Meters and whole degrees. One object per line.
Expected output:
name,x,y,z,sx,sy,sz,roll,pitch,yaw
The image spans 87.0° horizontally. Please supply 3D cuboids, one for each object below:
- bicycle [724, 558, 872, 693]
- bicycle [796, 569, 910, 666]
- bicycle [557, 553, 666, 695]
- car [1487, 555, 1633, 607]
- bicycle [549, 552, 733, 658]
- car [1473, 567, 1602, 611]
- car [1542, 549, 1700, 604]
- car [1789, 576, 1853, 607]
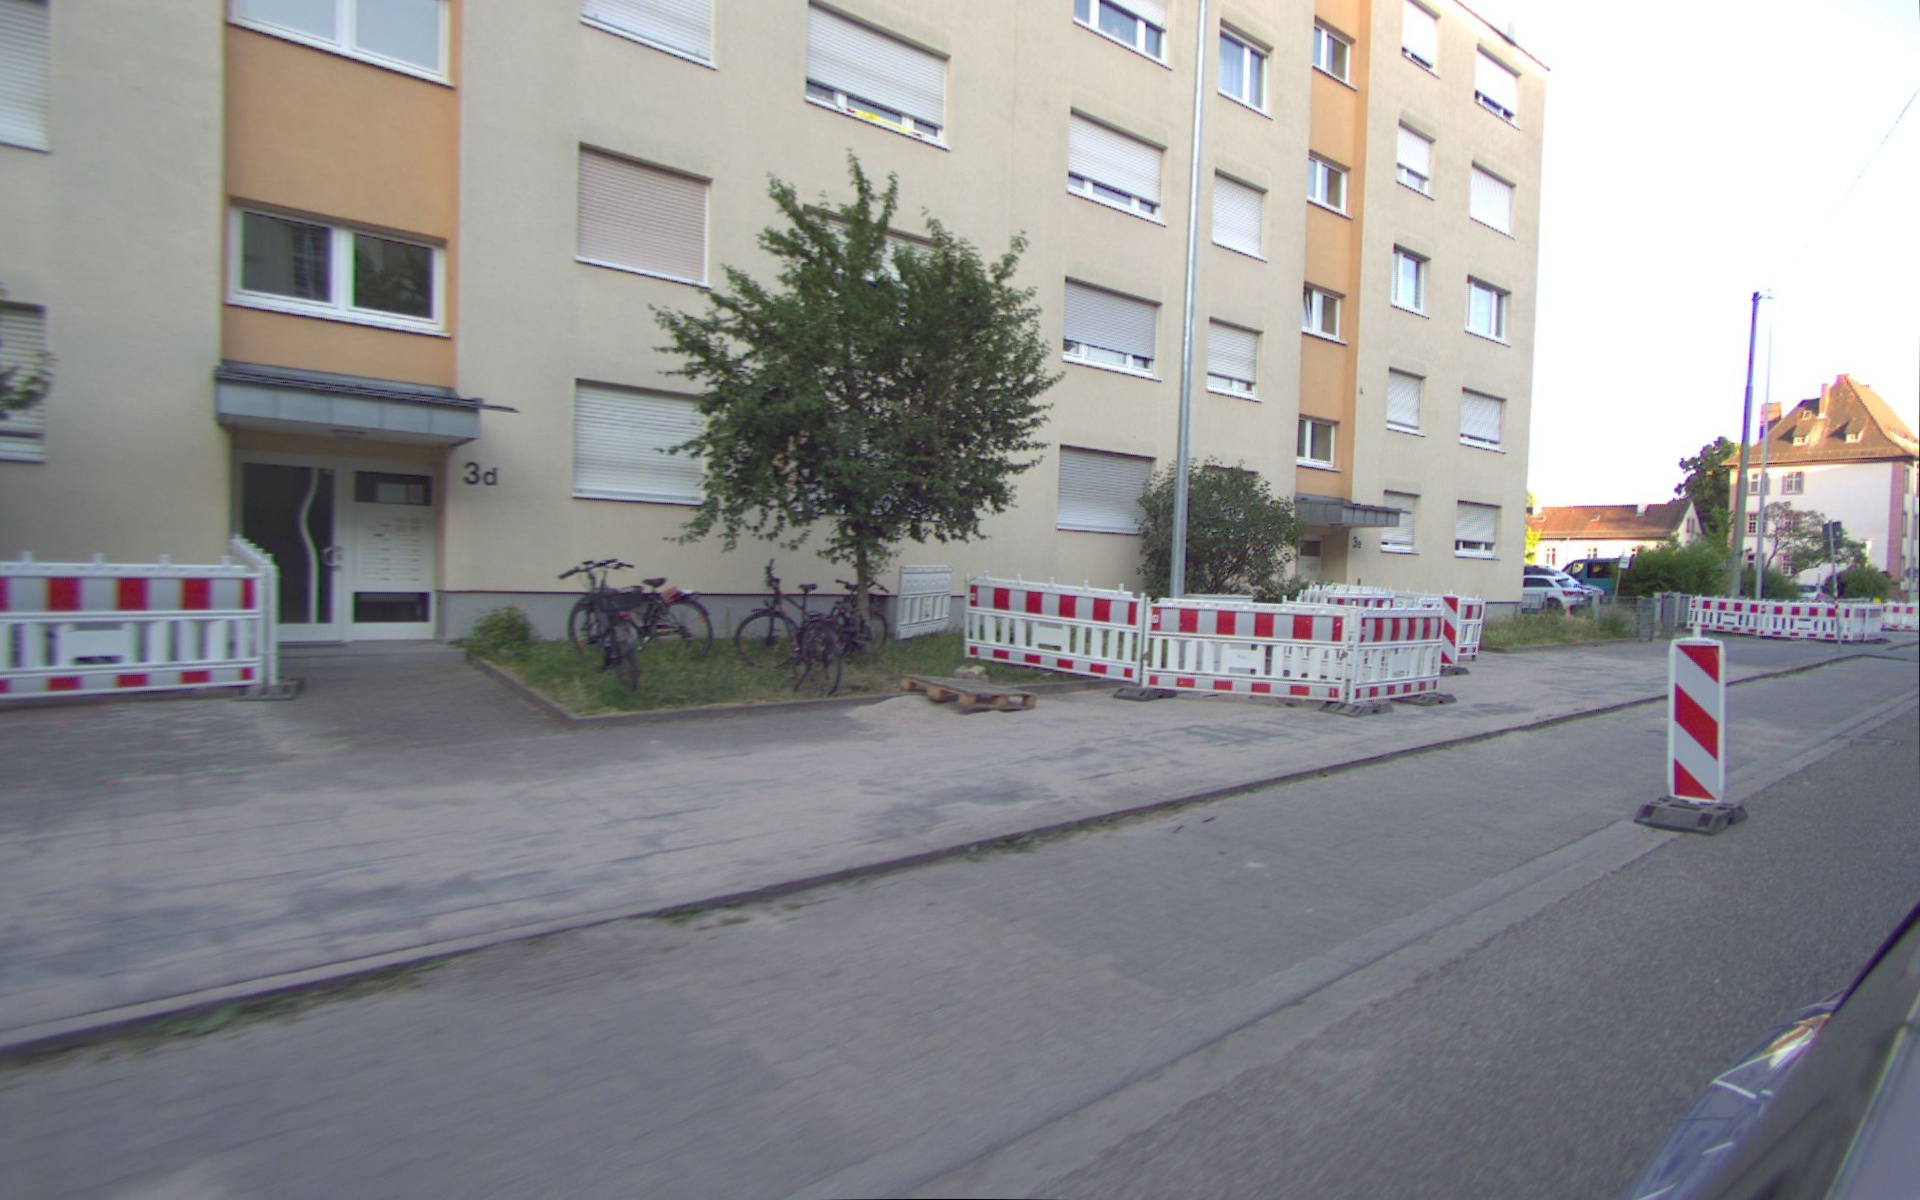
bicycle,-1.617,0.195,9.853,0.548,1.034,1.817,-1,7,-39
bicycle,-1.157,0.156,11.275,0.551,0.875,1.604,6,6,21
bicycle,-3.140,0.161,9.018,0.547,0.998,1.762,1,7,-31
car,23.536,-0.780,39.833,1.968,1.832,4.492,0,3,-38
bicycle,-3.390,0.035,10.776,1.787,0.931,0.557,5,6,9
car,21.629,-0.435,38.036,1.664,1.470,3.841,0,3,-38
car,27.656,-1.018,42.519,2.245,2.156,5.041,0,2,-33
car,47.401,-0.472,55.699,4.723,1.650,1.919,0,2,-40
